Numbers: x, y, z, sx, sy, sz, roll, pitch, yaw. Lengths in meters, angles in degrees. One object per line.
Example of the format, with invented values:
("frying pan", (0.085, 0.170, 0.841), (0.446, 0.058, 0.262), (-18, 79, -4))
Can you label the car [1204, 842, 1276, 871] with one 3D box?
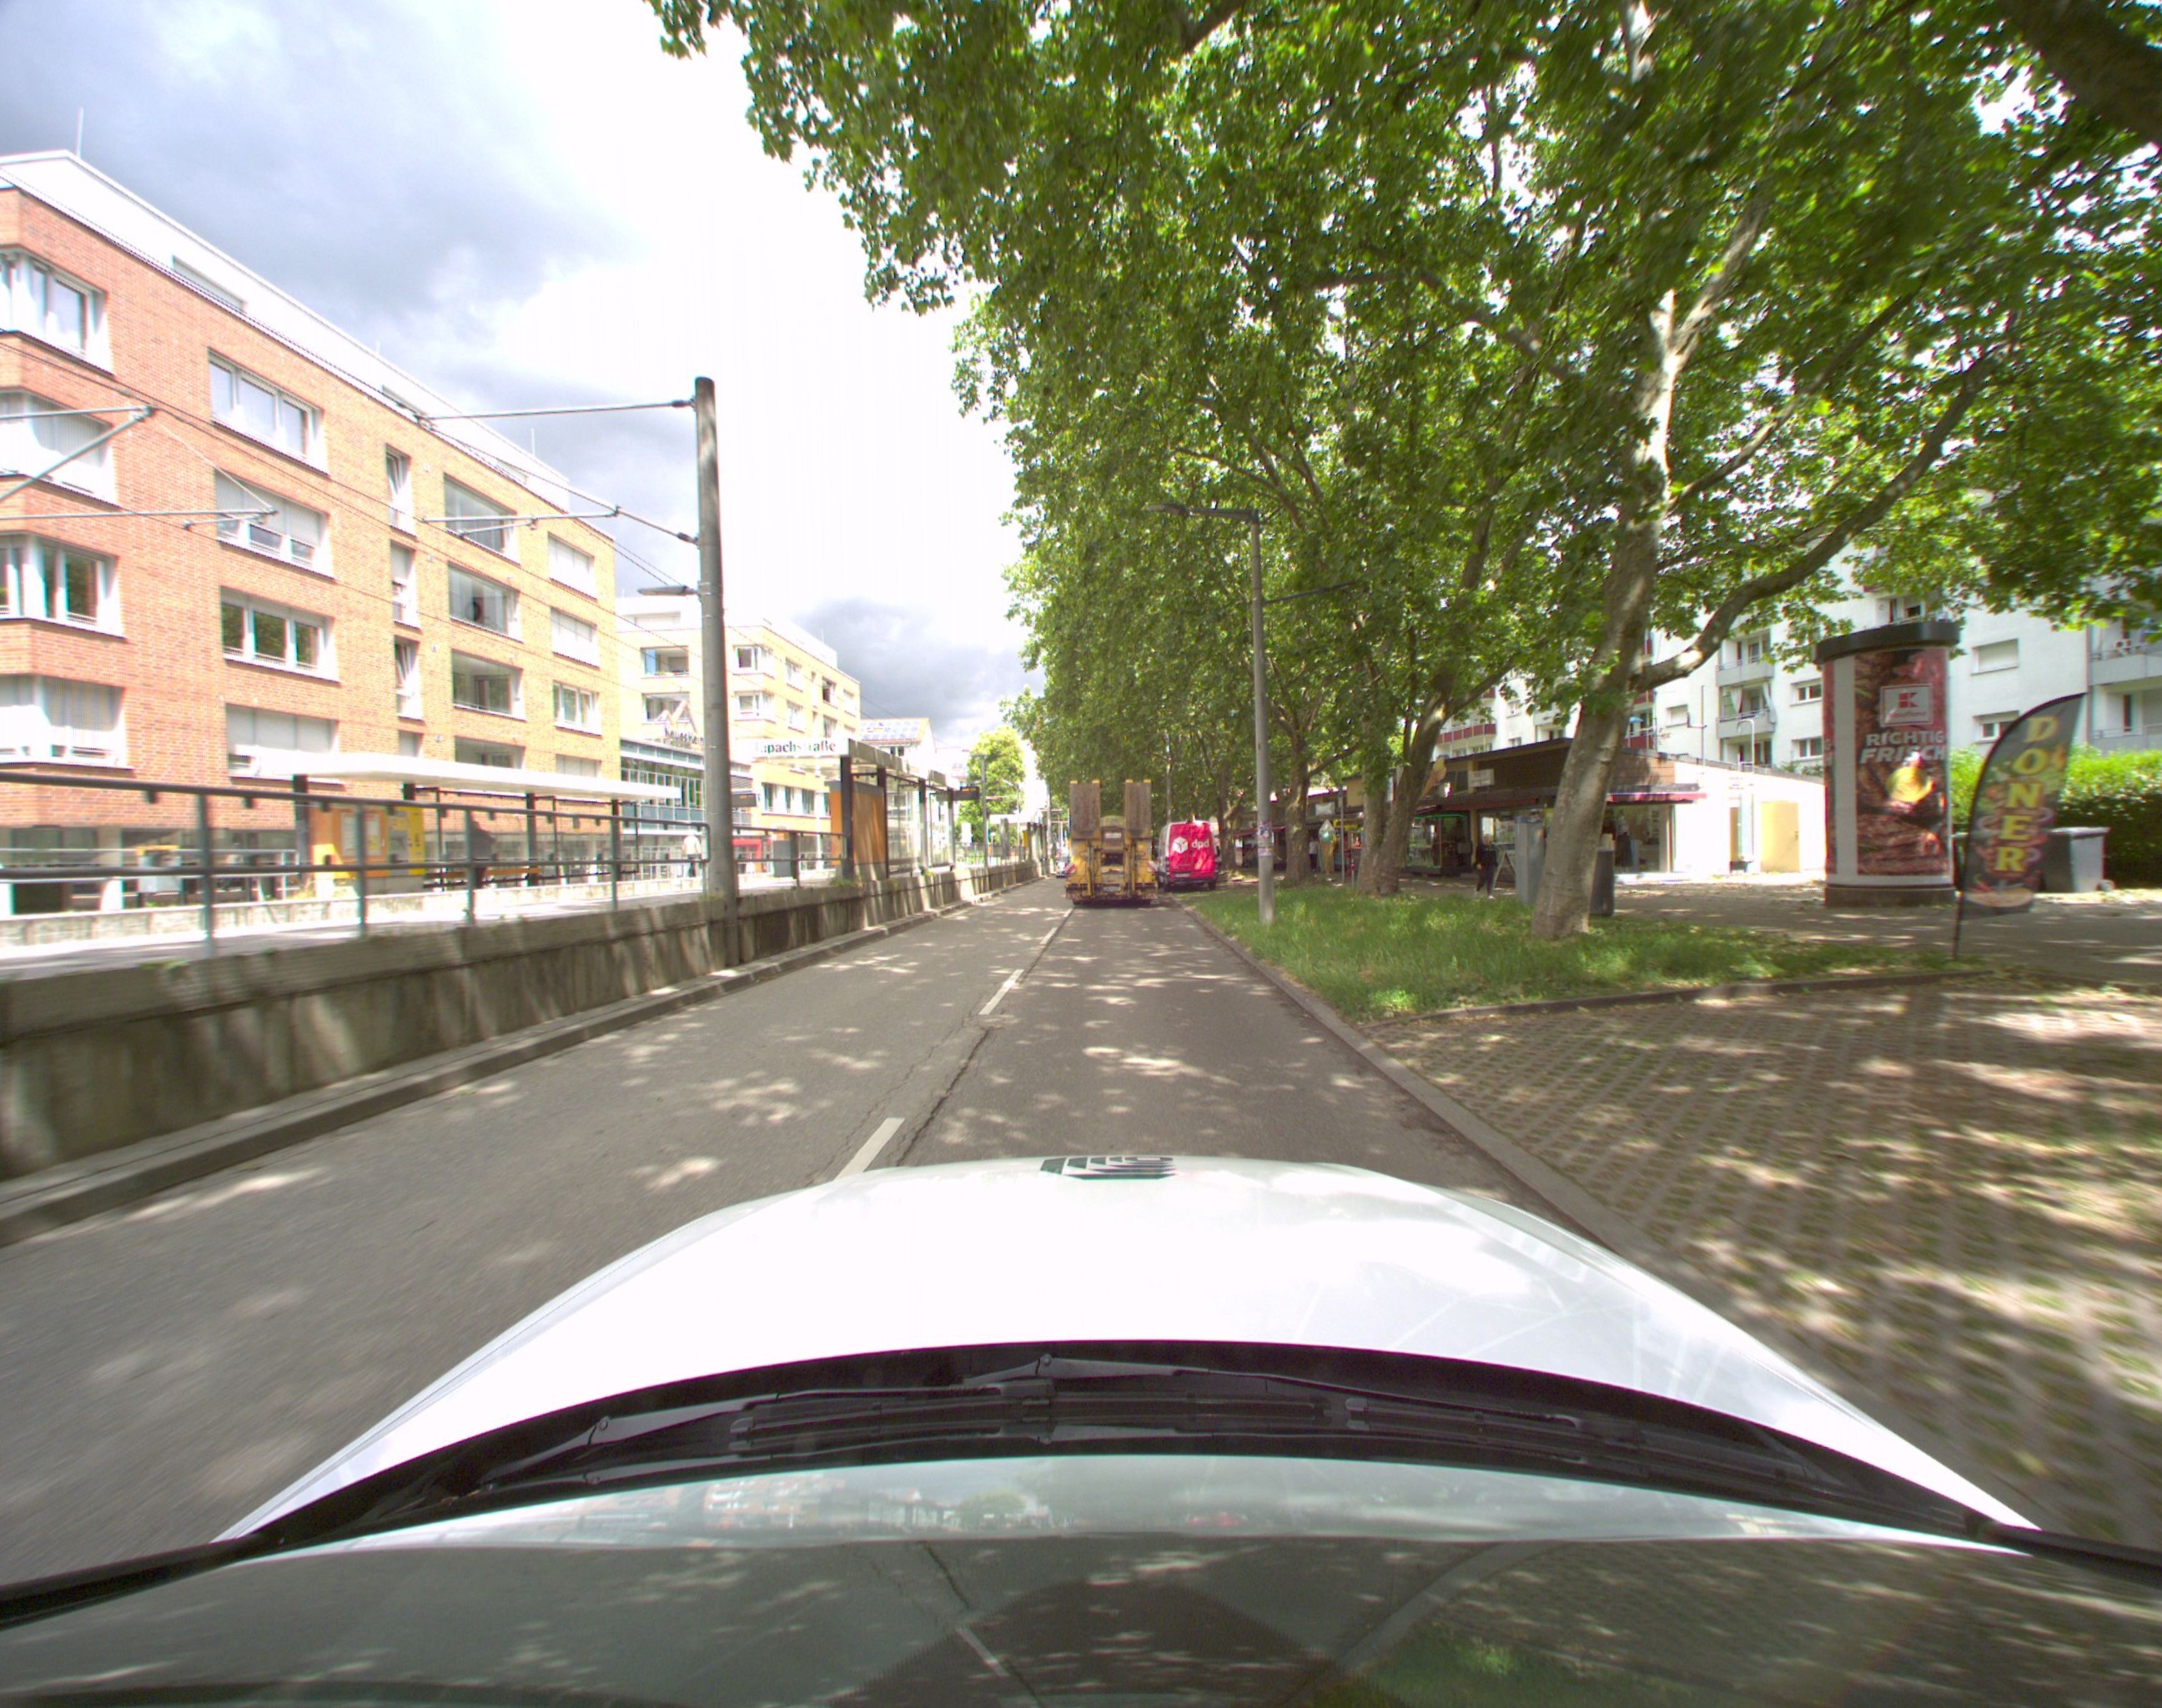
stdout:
("car", (9.444, 0.151, 48.501), (3.823, 1.562, 1.617), (-3, 0, -5))

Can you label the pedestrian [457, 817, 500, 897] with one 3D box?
("pedestrian", (-13.590, 0.062, 18.384), (0.532, 1.763, 0.528), (-2, 0, -1))

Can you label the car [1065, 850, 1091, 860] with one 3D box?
("car", (-0.659, 0.227, 172.041), (5.093, 2.102, 1.968), (0, 0, -12))

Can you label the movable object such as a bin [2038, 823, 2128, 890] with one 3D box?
("movable object such as a bin", (16.154, 0.043, 13.140), (0.622, 1.033, 0.647), (-2, 0, -2))

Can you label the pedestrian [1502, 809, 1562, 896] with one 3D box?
("pedestrian", (10.278, -0.033, 18.587), (0.740, 1.883, 0.942), (-4, -1, 1))

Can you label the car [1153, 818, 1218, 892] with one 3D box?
("car", (4.084, 0.044, 32.965), (1.897, 2.581, 6.838), (-3, 0, 2))

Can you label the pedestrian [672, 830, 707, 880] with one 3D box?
("pedestrian", (-12.981, 0.031, 27.007), (0.748, 1.629, 0.816), (-1, 0, 2))

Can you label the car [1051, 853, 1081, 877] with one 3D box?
("car", (-0.898, 0.670, 51.214), (1.726, 1.396, 3.752), (0, 0, 1))

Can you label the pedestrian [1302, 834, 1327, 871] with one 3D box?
("pedestrian", (11.490, -0.076, 40.075), (0.610, 1.801, 0.915), (-1, -2, -44))

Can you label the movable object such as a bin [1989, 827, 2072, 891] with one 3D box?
("movable object such as a bin", (16.125, 0.079, 13.841), (0.622, 1.033, 0.647), (-2, 0, -2))

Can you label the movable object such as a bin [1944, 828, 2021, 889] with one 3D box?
("movable object such as a bin", (16.077, 0.079, 14.538), (0.622, 1.033, 0.647), (-2, 0, -2))

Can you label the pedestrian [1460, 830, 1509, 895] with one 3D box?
("pedestrian", (9.395, 0.190, 18.988), (0.623, 1.447, 1.029), (-2, 0, 2))

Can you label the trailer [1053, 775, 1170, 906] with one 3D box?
("trailer", (0.945, -0.364, 27.731), (3.143, 3.552, 11.099), (-1, 0, 1))

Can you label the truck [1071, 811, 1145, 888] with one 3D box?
("truck", (1.188, -0.187, 37.211), (2.979, 3.135, 7.889), (-1, 0, 1))

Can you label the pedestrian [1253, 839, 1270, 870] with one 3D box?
("pedestrian", (10.491, 0.035, 47.461), (0.757, 1.724, 0.658), (-3, 0, -2))
